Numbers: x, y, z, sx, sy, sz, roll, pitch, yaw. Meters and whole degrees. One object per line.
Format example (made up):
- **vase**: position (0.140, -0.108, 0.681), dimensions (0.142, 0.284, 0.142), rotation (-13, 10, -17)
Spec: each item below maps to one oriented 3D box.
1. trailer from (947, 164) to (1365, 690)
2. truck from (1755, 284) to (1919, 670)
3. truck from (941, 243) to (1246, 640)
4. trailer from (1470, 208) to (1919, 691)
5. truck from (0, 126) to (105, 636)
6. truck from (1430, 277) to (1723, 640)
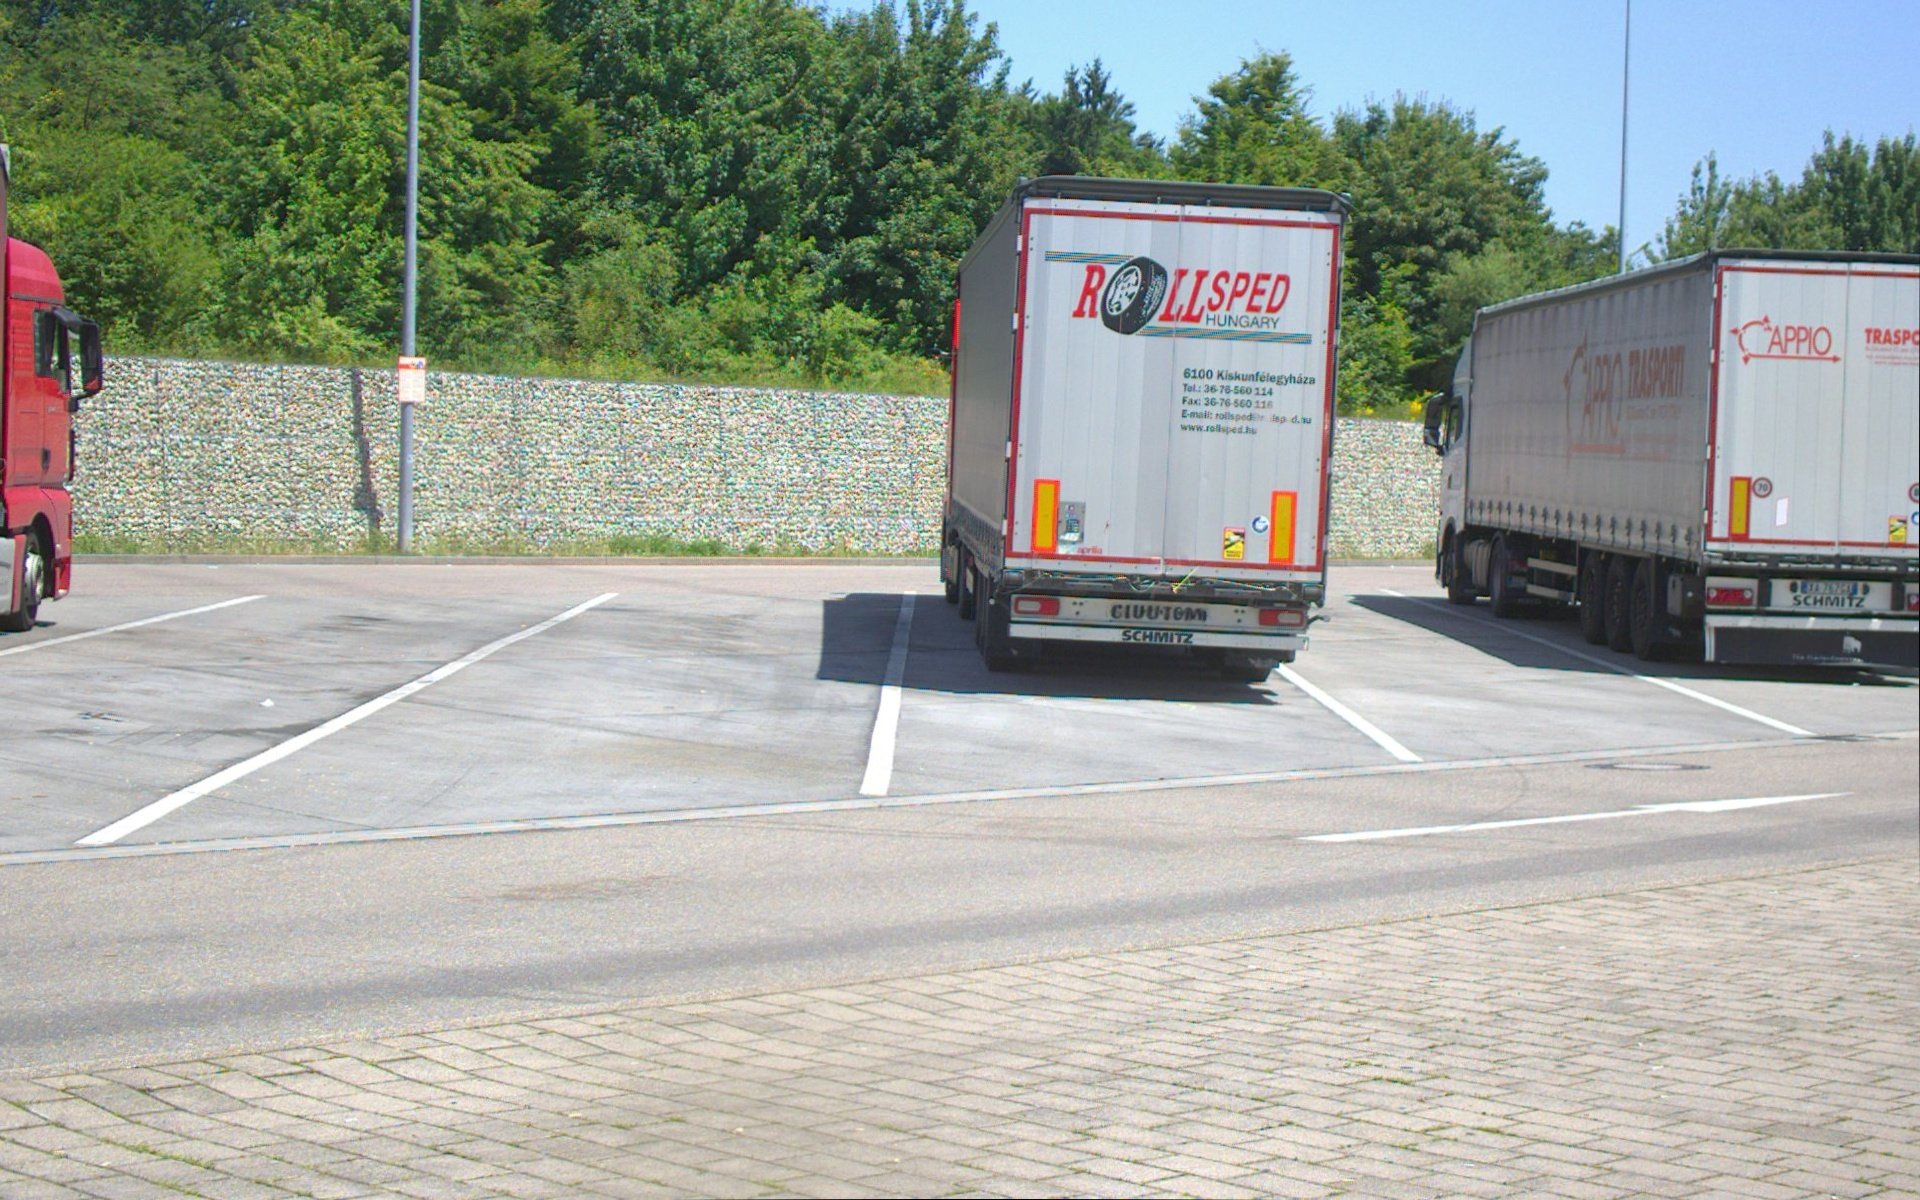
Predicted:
- **trailer**: position (1.480, -1.505, 32.055), dimensions (2.897, 4.000, 11.318), rotation (1, 2, -2)
- **truck**: position (11.738, -1.346, 38.768), dimensions (2.587, 4.211, 11.971), rotation (1, 1, -1)
- **truck**: position (1.335, -1.697, 37.750), dimensions (2.871, 3.967, 6.030), rotation (1, 2, -2)
- **trailer**: position (8.121, -1.584, 38.180), dimensions (2.681, 4.437, 12.831), rotation (1, 2, -1)
- **truck**: position (-9.167, -1.798, 28.355), dimensions (2.805, 4.119, 5.894), rotation (1, 2, -1)
- **truck**: position (7.988, -1.832, 45.246), dimensions (2.661, 4.437, 5.864), rotation (1, 2, -1)
